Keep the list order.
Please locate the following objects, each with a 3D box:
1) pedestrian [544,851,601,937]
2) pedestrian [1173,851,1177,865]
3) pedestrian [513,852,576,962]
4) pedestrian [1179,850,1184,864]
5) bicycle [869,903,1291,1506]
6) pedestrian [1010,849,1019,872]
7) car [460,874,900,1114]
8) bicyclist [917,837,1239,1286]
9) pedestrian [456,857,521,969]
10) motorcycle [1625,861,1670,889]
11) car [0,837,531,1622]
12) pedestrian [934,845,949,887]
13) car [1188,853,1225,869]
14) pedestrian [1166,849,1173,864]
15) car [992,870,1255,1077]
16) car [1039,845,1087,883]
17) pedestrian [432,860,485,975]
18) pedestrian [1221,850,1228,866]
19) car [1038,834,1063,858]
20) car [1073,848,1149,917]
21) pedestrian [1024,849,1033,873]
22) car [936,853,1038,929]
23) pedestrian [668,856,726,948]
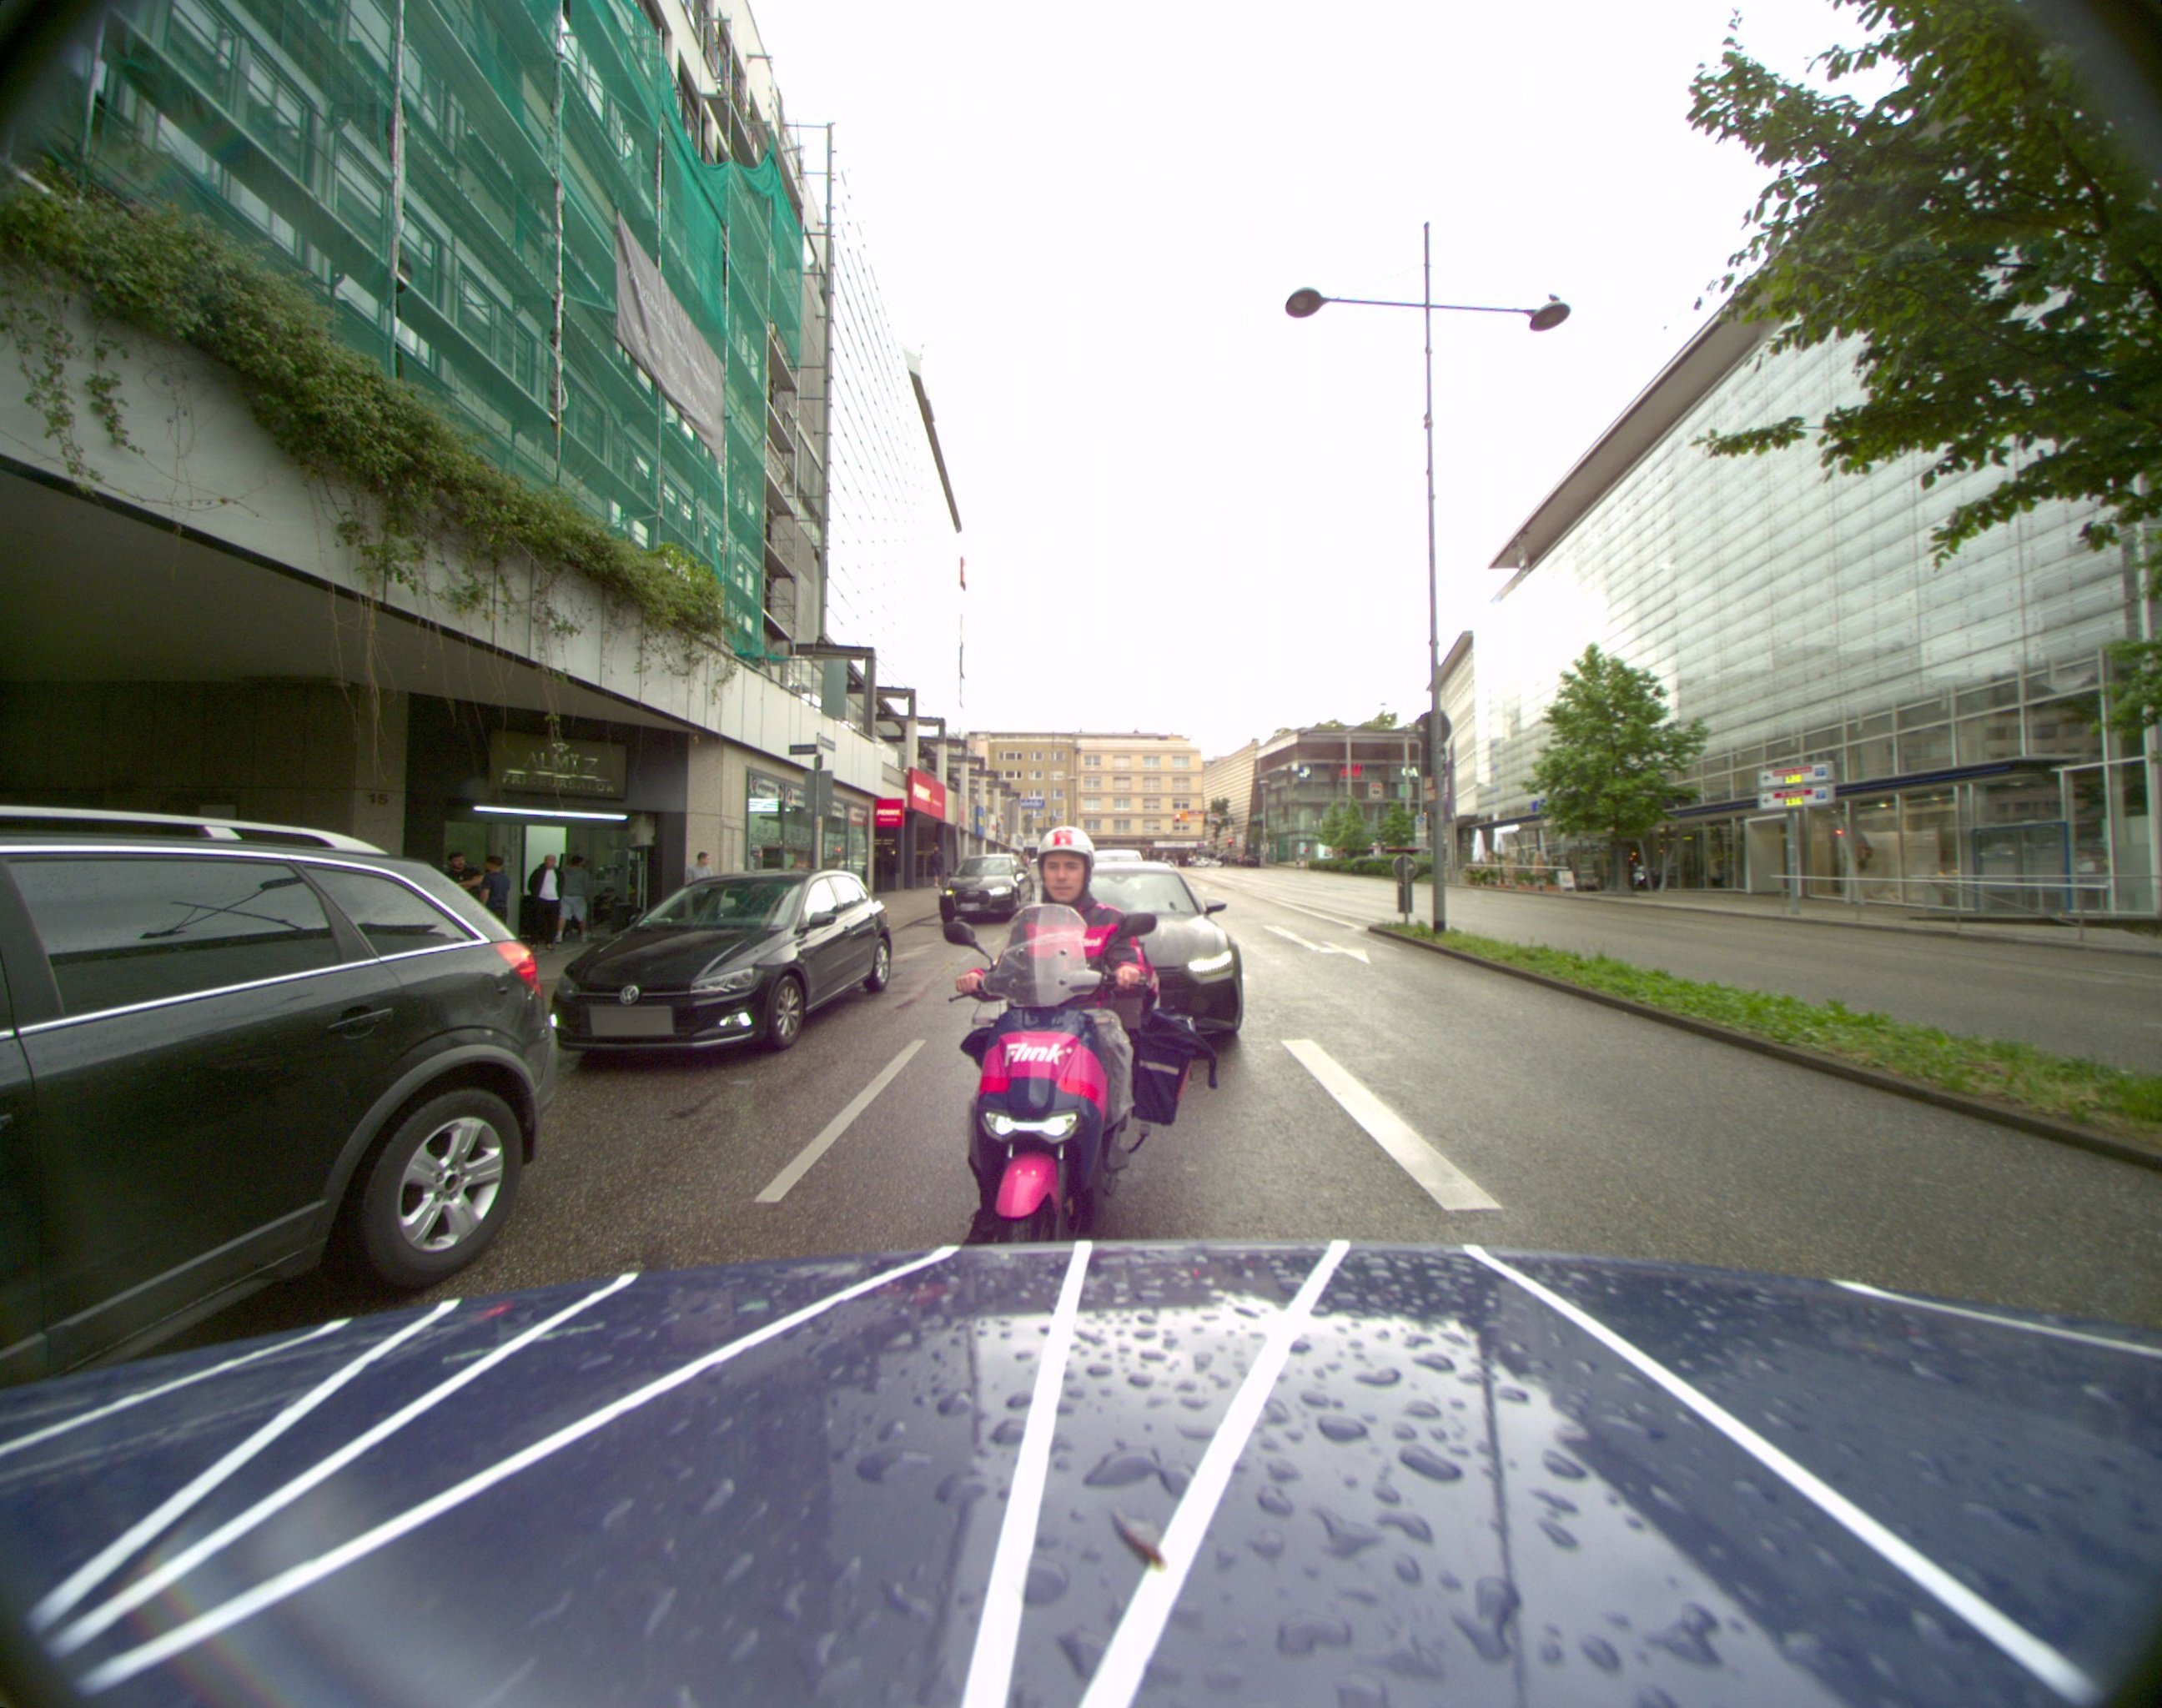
[{"bbox_3d":[-9.795,0.759,14.645,0.676,1.618,0.580,0,2,7],"label":"pedestrian"},{"bbox_3d":[10.594,0.427,85.301,0.428,1.620,0.602,1,1,5],"label":"pedestrian"},{"bbox_3d":[-9.239,0.880,13.090,0.771,1.805,0.745,2,2,44],"label":"pedestrian"},{"bbox_3d":[11.489,0.300,86.967,0.428,1.620,0.602,1,1,3],"label":"pedestrian"},{"bbox_3d":[0.017,0.998,3.415,1.034,1.279,2.948,-2,1,1],"label":"bicycle"},{"bbox_3d":[-4.222,0.413,48.165,0.510,1.492,0.579,0,2,0],"label":"pedestrian"},{"bbox_3d":[-3.191,0.995,7.165,1.759,1.495,4.165,-2,-1,2],"label":"car"},{"bbox_3d":[-0.002,0.717,3.043,1.063,1.534,0.825,-2,2,0],"label":"bicyclist"},{"bbox_3d":[-8.822,0.848,11.332,0.640,1.586,0.576,-3,2,-32],"label":"pedestrian"},{"bbox_3d":[27.764,1.029,37.274,1.707,1.319,0.620,0,1,1],"label":"motorcycle"},{"bbox_3d":[-3.329,0.862,1.234,1.764,1.755,4.164,-2,-1,1],"label":"car"},{"bbox_3d":[-5.594,0.486,30.521,0.510,1.669,0.579,0,2,0],"label":"pedestrian"},{"bbox_3d":[16.393,0.928,99.126,4.596,2.002,1.994,0,1,-34],"label":"car"},{"bbox_3d":[9.355,0.256,80.523,0.634,1.620,0.602,0,1,-1],"label":"pedestrian"},{"bbox_3d":[0.396,0.929,7.668,1.890,1.392,4.164,-2,0,2],"label":"car"},{"bbox_3d":[-0.803,0.470,36.699,1.988,1.696,4.165,-2,-1,2],"label":"car"},{"bbox_3d":[-9.592,0.956,11.712,0.466,1.698,0.484,0,2,42],"label":"pedestrian"},{"bbox_3d":[16.294,0.424,86.360,0.626,1.764,0.689,-1,2,5],"label":"pedestrian"},{"bbox_3d":[-2.678,-0.707,66.773,1.605,2.002,3.400,-2,1,7],"label":"car"},{"bbox_3d":[0.771,0.674,19.313,1.675,1.520,4.165,-2,-1,2],"label":"car"},{"bbox_3d":[-3.335,0.416,48.229,0.510,1.492,0.579,0,2,0],"label":"pedestrian"},{"bbox_3d":[-2.212,0.820,18.995,1.841,1.598,4.164,-2,1,2],"label":"car"},{"bbox_3d":[-7.101,0.870,14.092,0.639,1.633,0.733,-2,2,-3],"label":"pedestrian"}]
